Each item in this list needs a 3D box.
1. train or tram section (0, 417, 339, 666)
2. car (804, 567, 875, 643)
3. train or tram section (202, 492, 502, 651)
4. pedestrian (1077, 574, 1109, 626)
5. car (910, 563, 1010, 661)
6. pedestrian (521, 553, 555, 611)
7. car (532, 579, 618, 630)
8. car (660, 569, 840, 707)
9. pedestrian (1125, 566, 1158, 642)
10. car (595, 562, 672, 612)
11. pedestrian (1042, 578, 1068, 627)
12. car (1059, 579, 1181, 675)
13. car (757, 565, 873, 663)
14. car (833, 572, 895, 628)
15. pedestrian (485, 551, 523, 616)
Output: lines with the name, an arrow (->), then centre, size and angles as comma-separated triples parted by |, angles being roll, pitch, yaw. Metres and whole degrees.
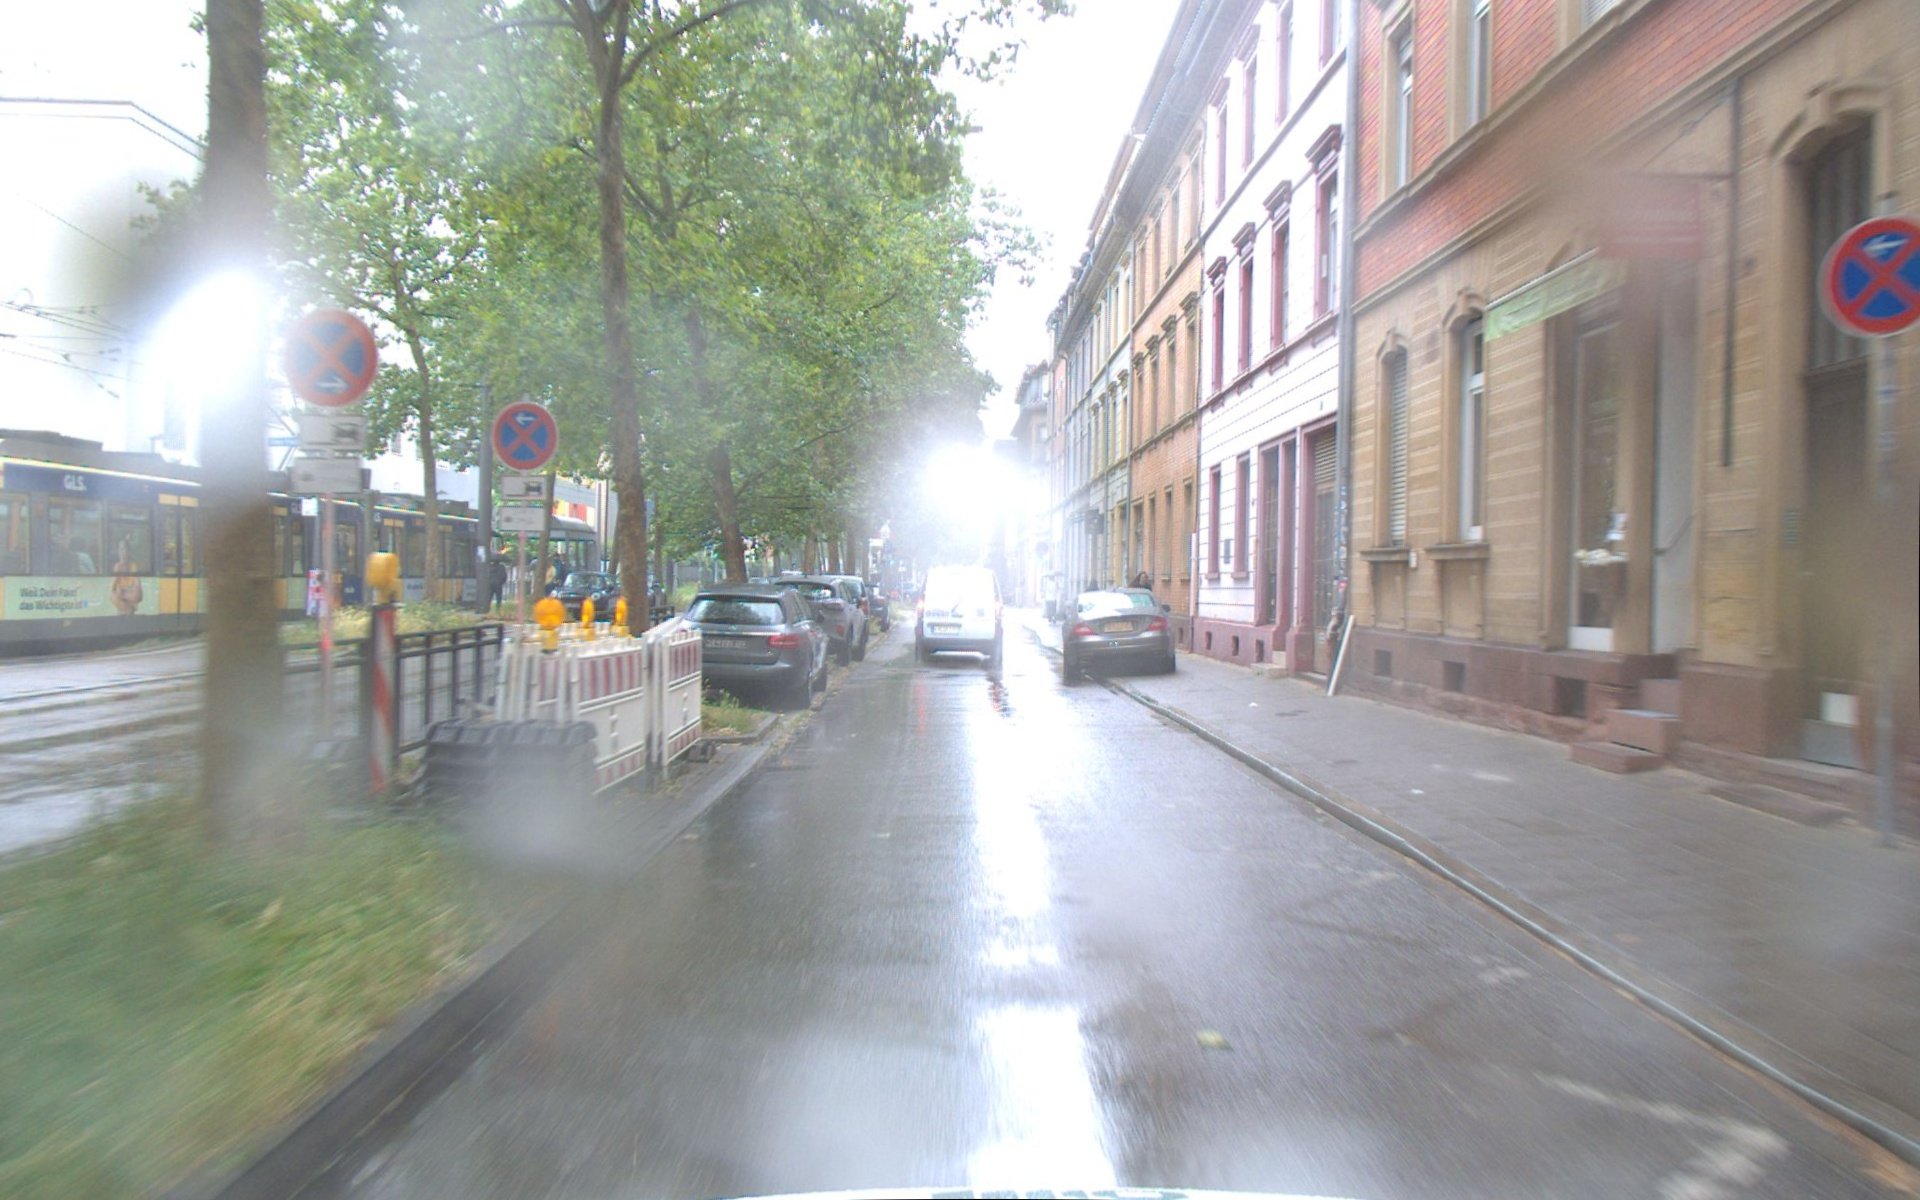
train or tram section -> -15.674, -0.774, 30.698 | 3.043, 3.621, 14.573 | 1, -1, -1
car -> -2.916, 0.076, 40.381 | 1.591, 1.711, 3.657 | 2, 1, -3
train or tram section -> -15.956, -0.540, 45.241 | 3.043, 3.621, 14.670 | 1, -1, -1
pedestrian -> 3.998, -0.010, 49.662 | 0.823, 1.538, 1.108 | -2, 1, 0
car -> -0.002, 0.257, 33.573 | 1.865, 1.829, 4.113 | 1, -1, 0
pedestrian -> -12.917, -0.541, 50.643 | 0.801, 1.733, 0.872 | 1, 0, -2
car -> -11.592, 0.101, 50.017 | 1.704, 1.366, 3.755 | 4, 1, -1
car -> -2.596, 0.427, 21.459 | 1.792, 1.530, 4.612 | 2, 0, -1
pedestrian -> 4.184, 0.090, 38.156 | 0.625, 1.714, 0.603 | -2, 0, -2
car -> -11.419, -0.454, 58.133 | 1.953, 1.641, 3.999 | 1, 1, -1
pedestrian -> 3.497, 0.095, 61.021 | 0.823, 1.746, 1.108 | -2, 1, 0
car -> 2.676, 0.414, 28.565 | 1.776, 1.445, 4.698 | -2, 0, 2
car -> -2.591, 0.225, 30.460 | 1.663, 1.664, 4.355 | 1, 0, 1
car -> -2.852, -0.006, 49.669 | 1.615, 1.526, 4.118 | 3, 0, -1
pedestrian -> -12.446, -0.459, 45.162 | 0.801, 1.733, 0.872 | 1, 0, -2
